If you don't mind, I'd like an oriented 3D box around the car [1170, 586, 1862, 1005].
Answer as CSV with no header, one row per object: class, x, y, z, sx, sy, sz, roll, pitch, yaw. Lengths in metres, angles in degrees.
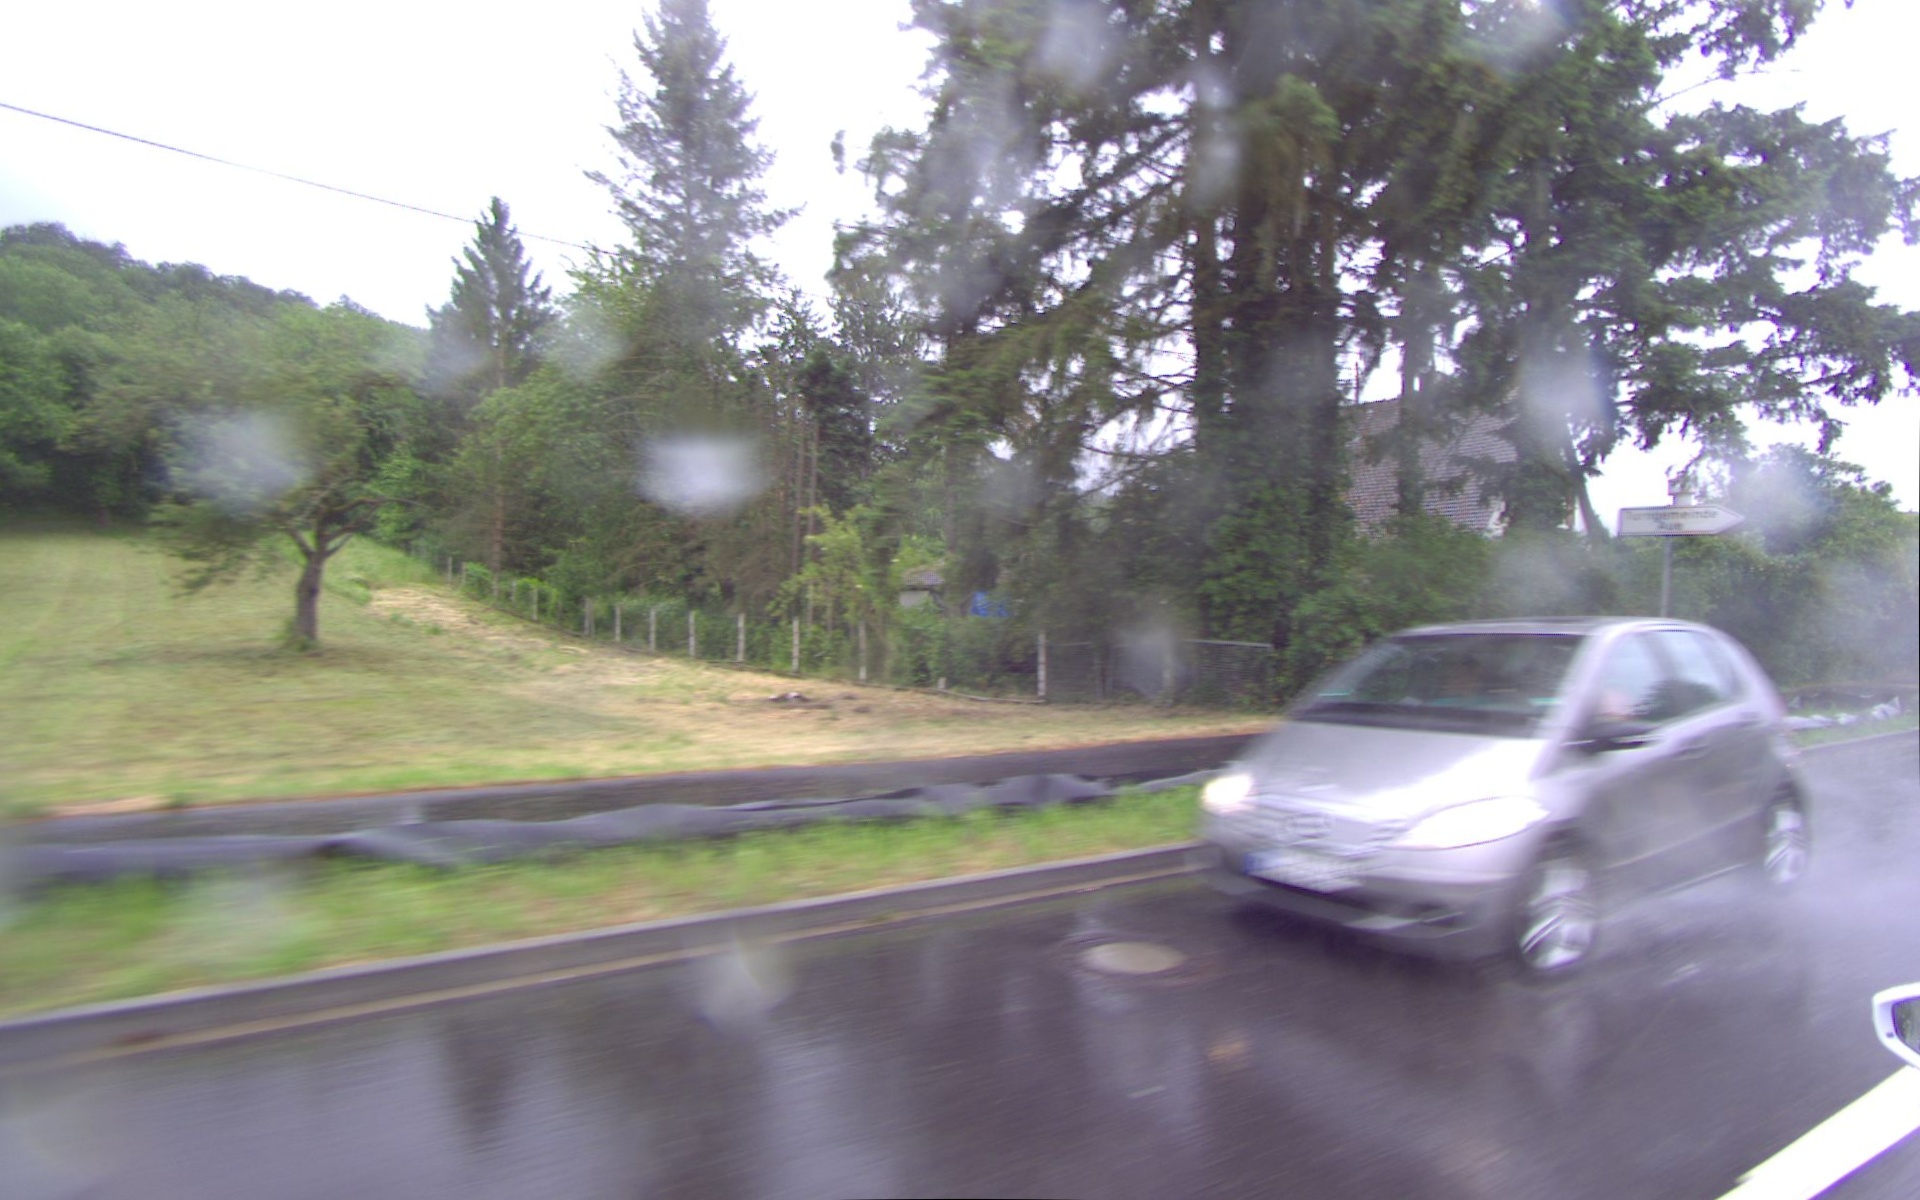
car,3.225,0.801,5.620,3.957,1.573,1.750,1,-2,-33
